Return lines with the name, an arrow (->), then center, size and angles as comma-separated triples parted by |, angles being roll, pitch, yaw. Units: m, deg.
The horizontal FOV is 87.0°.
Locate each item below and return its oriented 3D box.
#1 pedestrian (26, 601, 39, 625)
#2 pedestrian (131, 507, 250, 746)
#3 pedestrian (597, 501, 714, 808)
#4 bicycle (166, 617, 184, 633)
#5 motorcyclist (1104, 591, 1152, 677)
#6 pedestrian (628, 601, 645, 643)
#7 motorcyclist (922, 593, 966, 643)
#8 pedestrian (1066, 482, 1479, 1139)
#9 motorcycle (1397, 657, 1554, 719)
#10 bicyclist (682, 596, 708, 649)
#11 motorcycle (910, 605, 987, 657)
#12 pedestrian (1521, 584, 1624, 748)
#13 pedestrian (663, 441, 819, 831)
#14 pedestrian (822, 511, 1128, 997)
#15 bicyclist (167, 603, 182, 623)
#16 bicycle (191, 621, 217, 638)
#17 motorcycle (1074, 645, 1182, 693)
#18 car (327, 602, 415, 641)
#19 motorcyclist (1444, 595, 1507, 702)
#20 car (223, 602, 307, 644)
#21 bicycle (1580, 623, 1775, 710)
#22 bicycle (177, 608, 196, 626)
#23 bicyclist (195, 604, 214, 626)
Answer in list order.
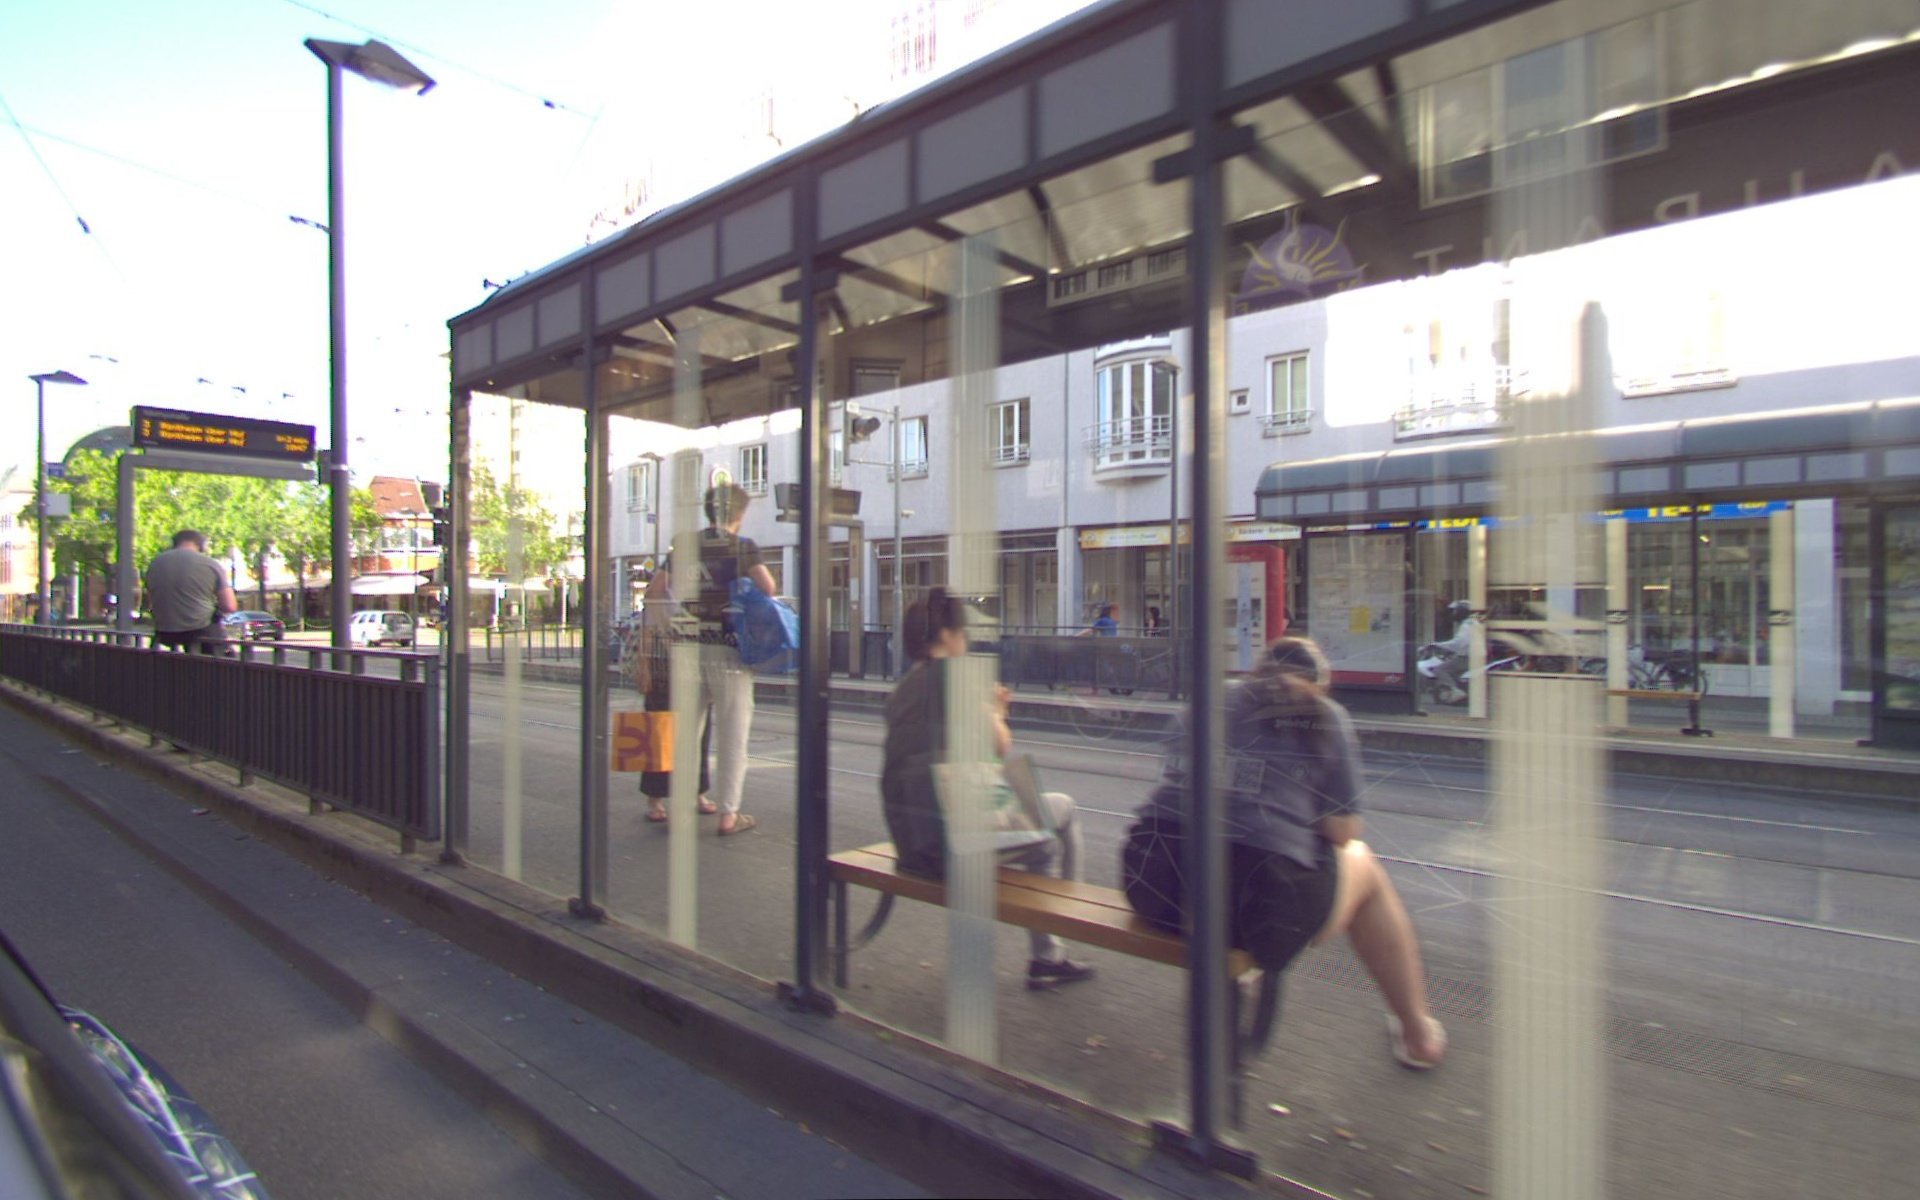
pedestrian -> -61.776, 0.873, 67.399 | 0.858, 1.529, 0.494 | -1, -3, 41
pedestrian -> -5.919, 0.177, 7.776 | 0.629, 1.710, 0.934 | -2, 2, -42
pedestrian -> -1.629, 0.281, 5.476 | 0.577, 1.574, 0.471 | 0, -1, -14
bicycle -> -50.887, 1.635, 65.615 | 1.817, 0.979, 0.587 | 1, 0, 41
motorcyclist -> 3.073, 0.604, 18.485 | 0.722, 1.513, 0.482 | 1, 2, 42
pedestrian -> -14.497, 0.989, 45.348 | 0.455, 1.846, 0.745 | -1, -1, 2
motorcyclist -> -0.356, 0.386, 22.765 | 0.827, 1.082, 0.553 | 1, 2, 42
pedestrian -> 0.778, 0.414, 2.504 | 0.719, 1.282, 0.756 | -1, -1, 43
motorcycle -> 7.556, 1.272, 14.917 | 2.006, 0.725, 0.488 | 1, 2, 42
bicyclist -> -8.717, 0.733, 33.297 | 0.711, 1.708, 1.032 | 0, 0, -21
motorcycle -> -0.284, 0.680, 22.714 | 1.844, 1.082, 0.553 | 1, 2, 42
pedestrian -> 6.041, 0.622, 9.981 | 0.742, 1.539, 0.724 | -1, -1, 40
pedestrian -> -1.083, 0.167, 5.005 | 0.707, 1.791, 0.566 | 0, -1, -14
pedestrian -> 0.050, 0.410, 3.160 | 0.657, 1.282, 0.703 | -1, -1, 43
bicyclist -> -50.973, 0.847, 65.689 | 0.926, 1.295, 0.582 | 1, 0, 41
bicycle -> -46.260, 1.809, 61.923 | 1.848, 0.979, 0.589 | 1, 0, 31
motorcycle -> 3.046, 1.250, 18.521 | 2.006, 0.725, 0.488 | 1, 2, 42
car -> -23.952, 0.827, 41.095 | 4.401, 1.526, 1.711 | 0, 0, 40
motorcyclist -> 7.567, 0.690, 14.862 | 0.722, 1.513, 0.482 | 1, 2, 42
car -> -33.691, 1.072, 49.024 | 4.605, 1.925, 2.205 | 0, 0, 40
bicycle -> 11.311, 1.004, 16.025 | 2.430, 1.176, 0.899 | 1, 2, 42
bicycle -> -51.849, 1.155, 67.823 | 2.233, 1.195, 0.492 | -1, -1, 39
bicyclist -> -46.283, 0.921, 61.986 | 0.988, 1.295, 0.584 | 1, 0, 31
